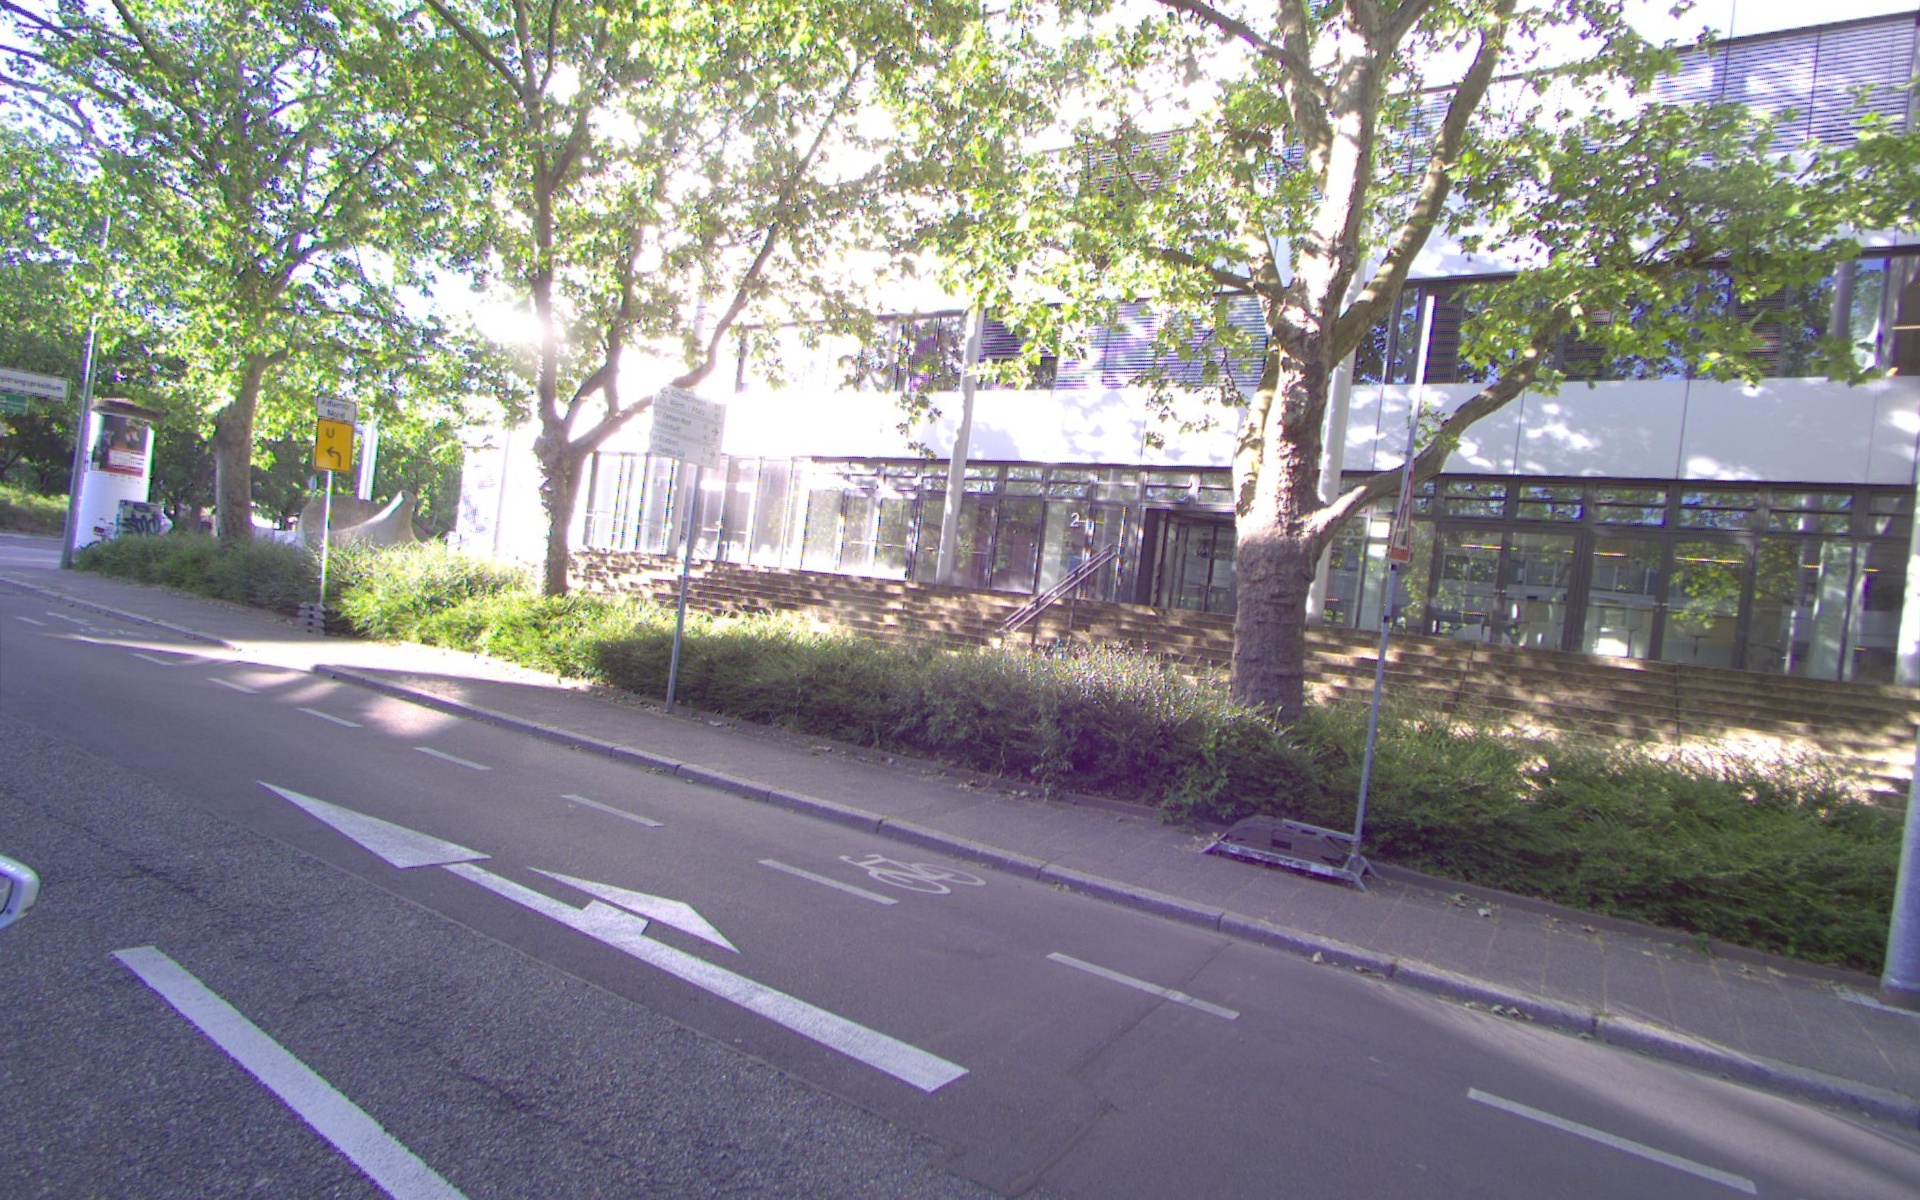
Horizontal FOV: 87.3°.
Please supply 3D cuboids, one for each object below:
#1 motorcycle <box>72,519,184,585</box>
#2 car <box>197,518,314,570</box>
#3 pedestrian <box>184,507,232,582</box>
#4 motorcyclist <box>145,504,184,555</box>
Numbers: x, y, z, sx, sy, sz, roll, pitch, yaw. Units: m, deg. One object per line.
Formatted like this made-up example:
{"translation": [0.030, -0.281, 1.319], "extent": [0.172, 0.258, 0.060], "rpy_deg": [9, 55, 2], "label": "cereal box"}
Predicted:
{"translation": [-19.230, -1.095, 23.282], "extent": [0.712, 1.257, 1.782], "rpy_deg": [6, -2, 37], "label": "motorcycle"}
{"translation": [-32.705, -2.564, 46.824], "extent": [1.708, 1.792, 3.996], "rpy_deg": [7, -1, 30], "label": "car"}
{"translation": [-19.765, -1.448, 26.451], "extent": [0.656, 1.849, 0.648], "rpy_deg": [7, 0, 31], "label": "pedestrian"}
{"translation": [-31.561, -2.794, 39.915], "extent": [0.370, 1.899, 0.983], "rpy_deg": [6, -1, 36], "label": "motorcyclist"}
